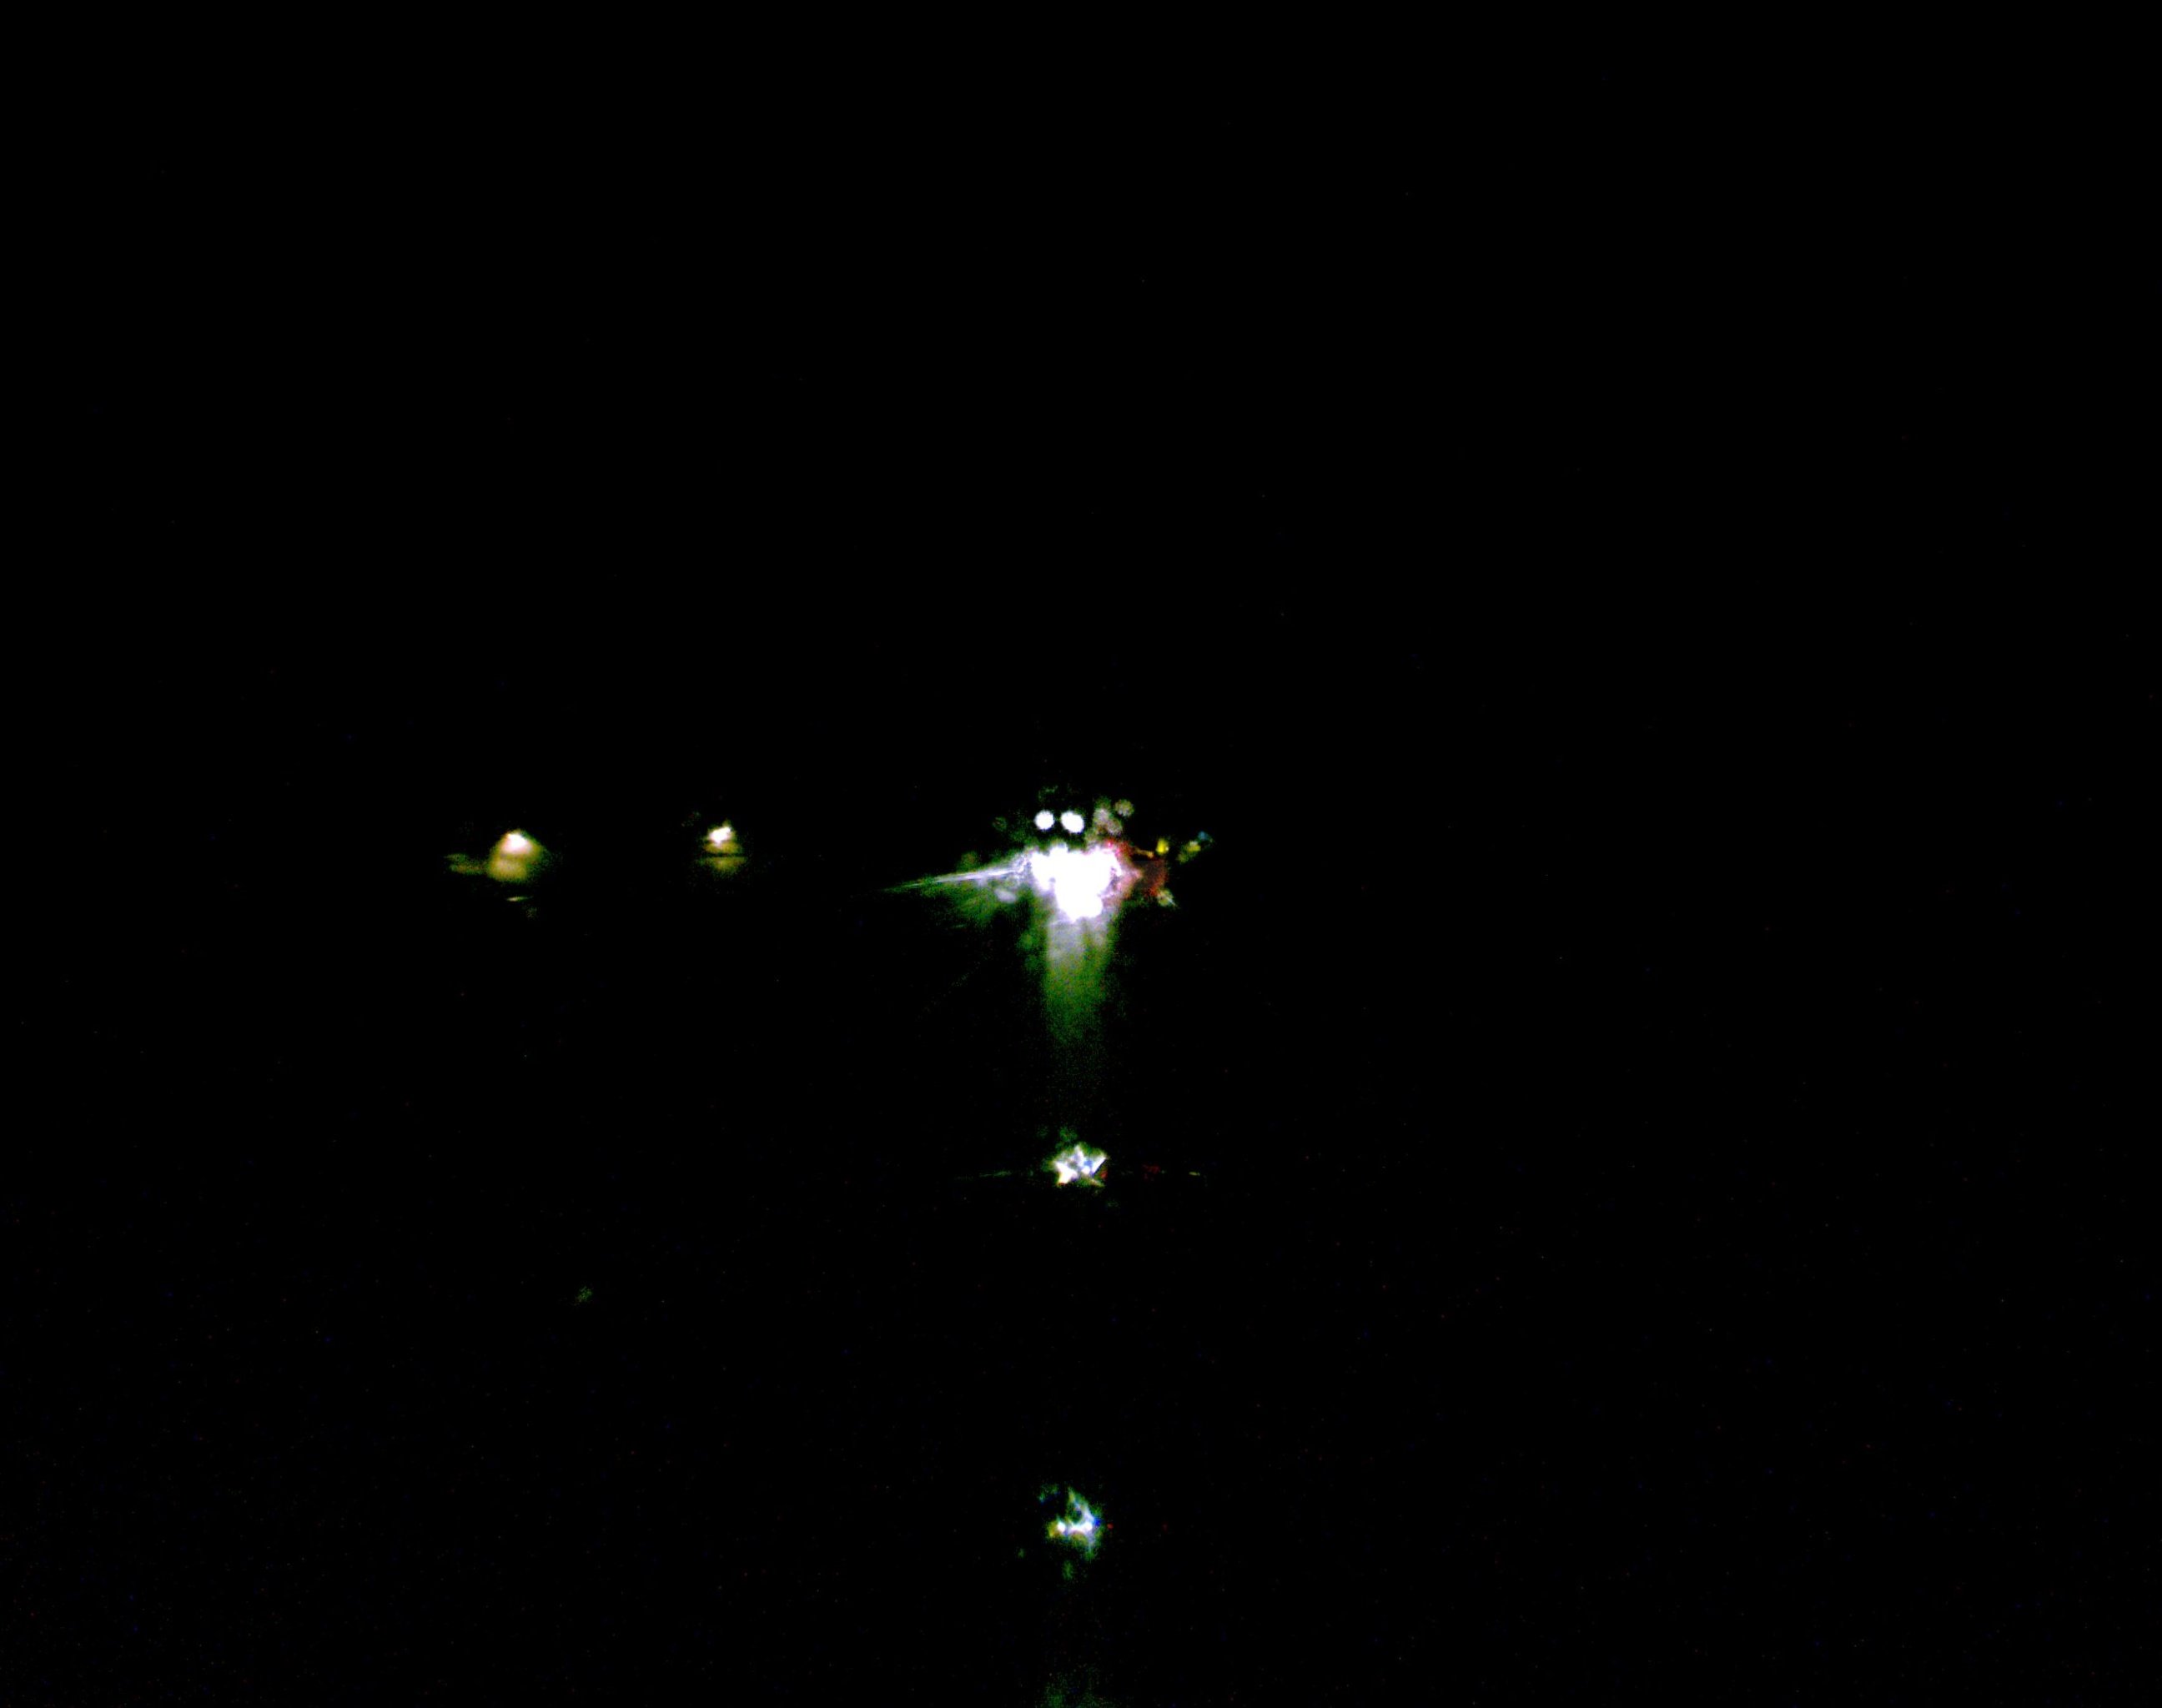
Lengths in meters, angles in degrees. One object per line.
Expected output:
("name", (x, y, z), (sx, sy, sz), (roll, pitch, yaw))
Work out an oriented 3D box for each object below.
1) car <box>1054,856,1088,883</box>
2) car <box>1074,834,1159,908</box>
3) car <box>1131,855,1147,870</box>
("car", (-0.598, 1.006, 53.106), (1.881, 1.637, 4.159), (-2, -1, 3))
("car", (1.359, 0.509, 29.724), (2.703, 2.307, 6.107), (-2, 1, 4))
("car", (7.700, 1.059, 107.851), (1.986, 1.915, 4.002), (1, 0, 2))
